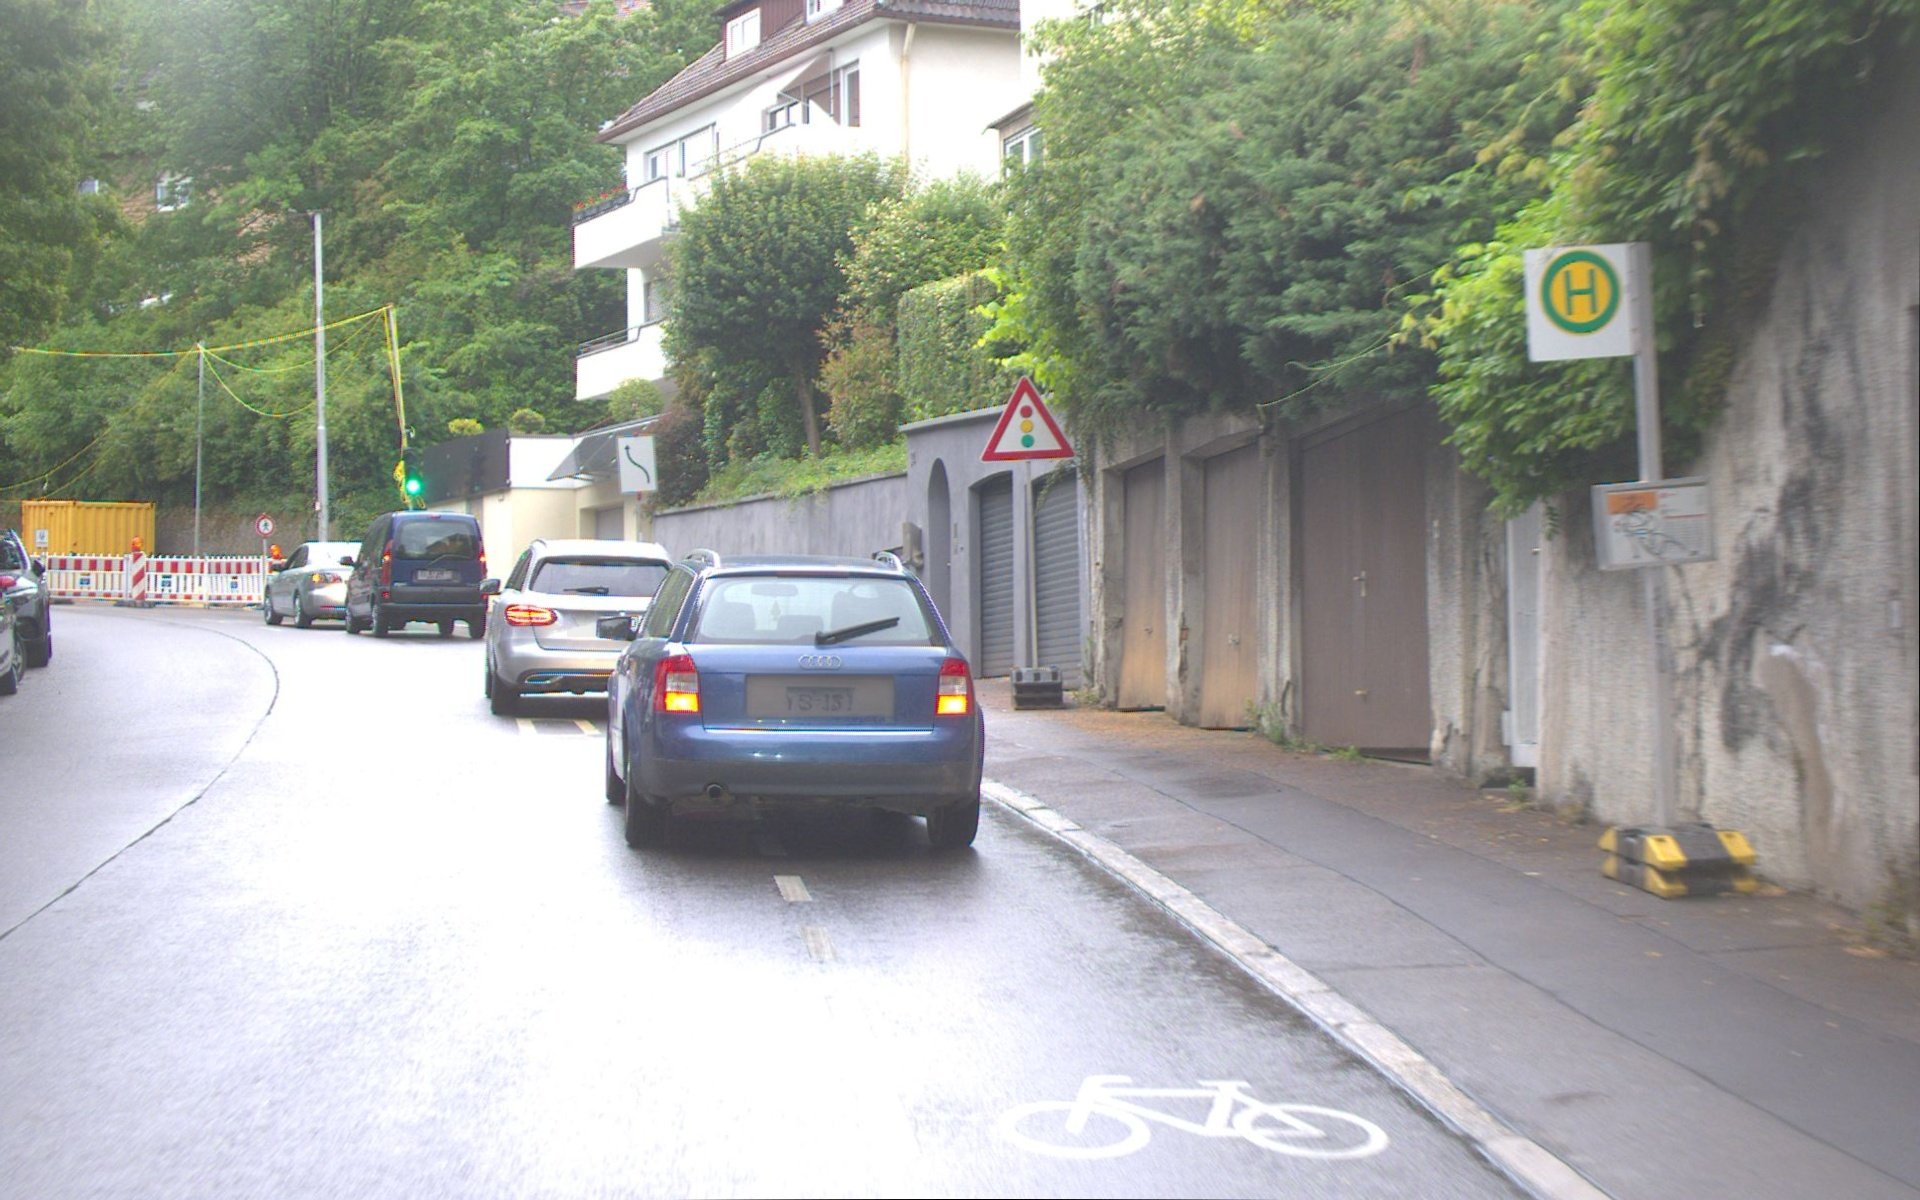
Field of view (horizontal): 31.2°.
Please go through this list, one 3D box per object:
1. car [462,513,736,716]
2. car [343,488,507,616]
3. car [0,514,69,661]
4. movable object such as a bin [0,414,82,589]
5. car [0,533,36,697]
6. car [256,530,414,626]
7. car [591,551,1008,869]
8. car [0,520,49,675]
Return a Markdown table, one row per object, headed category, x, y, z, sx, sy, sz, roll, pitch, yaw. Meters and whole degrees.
| category | x | y | z | sx | sy | sz | roll | pitch | yaw |
| --- | --- | --- | --- | --- | --- | --- | --- | --- | --- |
| car | -3.193 | 0.068 | 29.674 | 1.925 | 1.612 | 4.322 | 0 | 1 | -12 |
| car | -7.971 | -0.728 | 50.994 | 1.993 | 1.787 | 4.001 | -2 | 2 | -14 |
| car | -11.817 | -0.147 | 41.872 | 1.681 | 1.603 | 4.578 | -8 | 3 | -14 |
| movable object such as a bin | -24.389 | -2.344 | 81.518 | 7.317 | 4.000 | 2.823 | 2 | 2 | 35 |
| car | -9.621 | 0.173 | 31.856 | 1.555 | 1.483 | 4.099 | -4 | 1 | -9 |
| car | -10.303 | -0.394 | 56.478 | 1.720 | 1.481 | 4.077 | -2 | 2 | -22 |
| car | -0.948 | 0.475 | 17.887 | 1.785 | 1.437 | 3.965 | 0 | 1 | -8 |
| car | -10.658 | -0.011 | 36.467 | 1.632 | 1.559 | 3.850 | -2 | 1 | -11 |
